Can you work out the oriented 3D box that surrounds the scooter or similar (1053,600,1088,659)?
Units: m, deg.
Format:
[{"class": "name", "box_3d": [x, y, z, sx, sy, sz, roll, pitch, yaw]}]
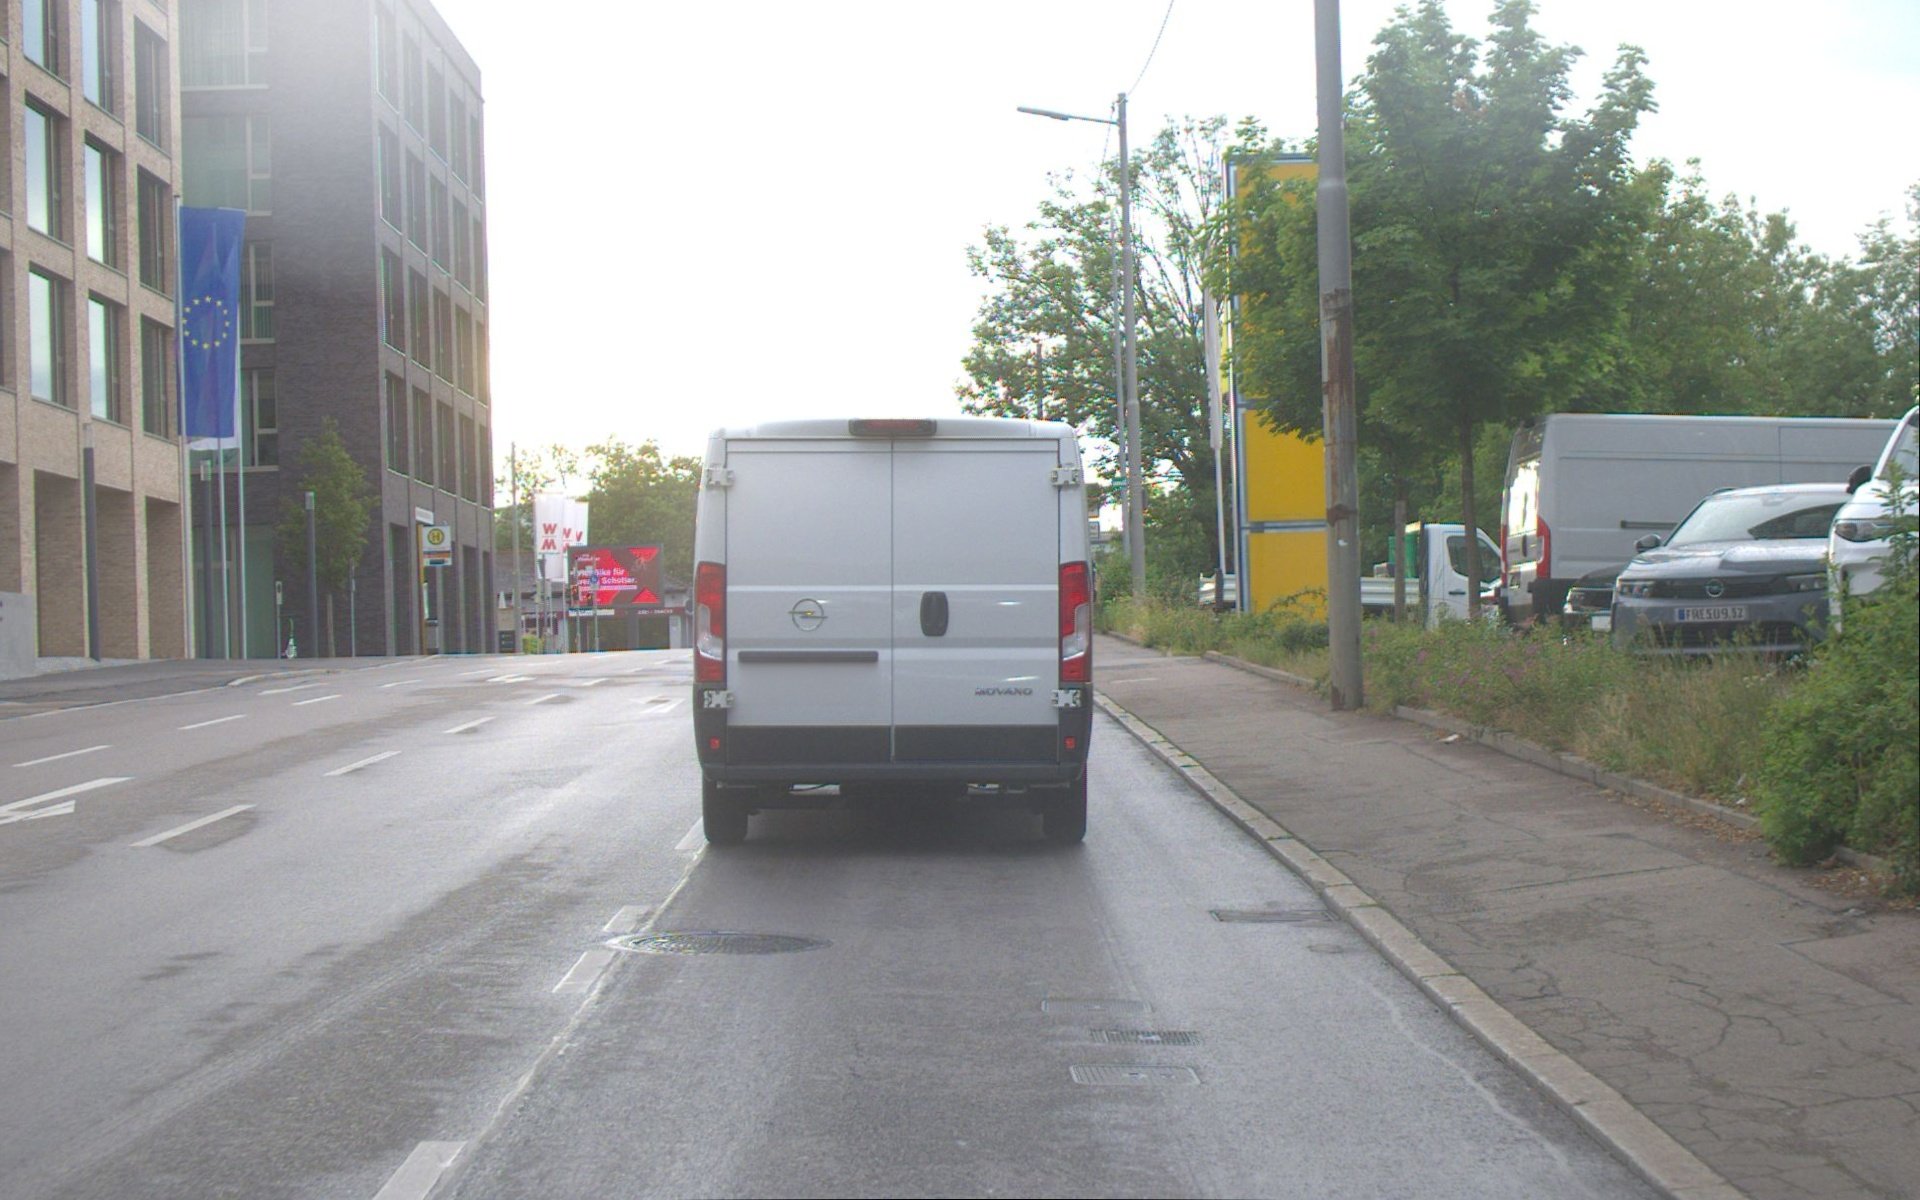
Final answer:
[{"class": "scooter or similar", "box_3d": [2.921, 0.775, 91.145, 0.434, 1.559, 1.273, -1, 0, -22]}]

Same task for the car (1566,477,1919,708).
[{"class": "car", "box_3d": [6.075, -0.058, 25.078, 1.912, 1.450, 4.565, -3, -1, 27]}]

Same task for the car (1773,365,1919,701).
[{"class": "car", "box_3d": [6.114, -0.388, 19.755, 1.996, 1.705, 4.572, -3, -1, 23]}]

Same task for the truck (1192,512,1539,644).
[{"class": "truck", "box_3d": [6.395, -0.356, 54.633, 5.147, 2.007, 2.345, -1, 0, -2]}]

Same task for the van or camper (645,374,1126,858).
[{"class": "van or camper", "box_3d": [-0.353, 0.074, 19.467, 2.340, 2.349, 5.199, -1, 0, 0]}]

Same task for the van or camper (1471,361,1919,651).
[{"class": "van or camper", "box_3d": [8.085, -0.906, 33.772, 5.736, 2.714, 2.352, -1, 0, 0]}]

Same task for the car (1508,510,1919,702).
[{"class": "car", "box_3d": [6.917, 0.024, 29.573, 4.506, 1.450, 1.915, -2, -1, -43]}]

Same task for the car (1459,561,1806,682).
[{"class": "car", "box_3d": [8.415, 0.262, 43.274, 3.987, 1.423, 1.895, -1, 0, 1]}]

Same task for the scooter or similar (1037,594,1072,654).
[{"class": "scooter or similar", "box_3d": [2.503, 0.629, 90.969, 0.434, 1.582, 1.273, -1, 0, -23]}]

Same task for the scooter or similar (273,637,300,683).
[{"class": "scooter or similar", "box_3d": [-16.244, 1.454, 82.961, 0.351, 1.068, 1.428, -1, -2, 0]}]
